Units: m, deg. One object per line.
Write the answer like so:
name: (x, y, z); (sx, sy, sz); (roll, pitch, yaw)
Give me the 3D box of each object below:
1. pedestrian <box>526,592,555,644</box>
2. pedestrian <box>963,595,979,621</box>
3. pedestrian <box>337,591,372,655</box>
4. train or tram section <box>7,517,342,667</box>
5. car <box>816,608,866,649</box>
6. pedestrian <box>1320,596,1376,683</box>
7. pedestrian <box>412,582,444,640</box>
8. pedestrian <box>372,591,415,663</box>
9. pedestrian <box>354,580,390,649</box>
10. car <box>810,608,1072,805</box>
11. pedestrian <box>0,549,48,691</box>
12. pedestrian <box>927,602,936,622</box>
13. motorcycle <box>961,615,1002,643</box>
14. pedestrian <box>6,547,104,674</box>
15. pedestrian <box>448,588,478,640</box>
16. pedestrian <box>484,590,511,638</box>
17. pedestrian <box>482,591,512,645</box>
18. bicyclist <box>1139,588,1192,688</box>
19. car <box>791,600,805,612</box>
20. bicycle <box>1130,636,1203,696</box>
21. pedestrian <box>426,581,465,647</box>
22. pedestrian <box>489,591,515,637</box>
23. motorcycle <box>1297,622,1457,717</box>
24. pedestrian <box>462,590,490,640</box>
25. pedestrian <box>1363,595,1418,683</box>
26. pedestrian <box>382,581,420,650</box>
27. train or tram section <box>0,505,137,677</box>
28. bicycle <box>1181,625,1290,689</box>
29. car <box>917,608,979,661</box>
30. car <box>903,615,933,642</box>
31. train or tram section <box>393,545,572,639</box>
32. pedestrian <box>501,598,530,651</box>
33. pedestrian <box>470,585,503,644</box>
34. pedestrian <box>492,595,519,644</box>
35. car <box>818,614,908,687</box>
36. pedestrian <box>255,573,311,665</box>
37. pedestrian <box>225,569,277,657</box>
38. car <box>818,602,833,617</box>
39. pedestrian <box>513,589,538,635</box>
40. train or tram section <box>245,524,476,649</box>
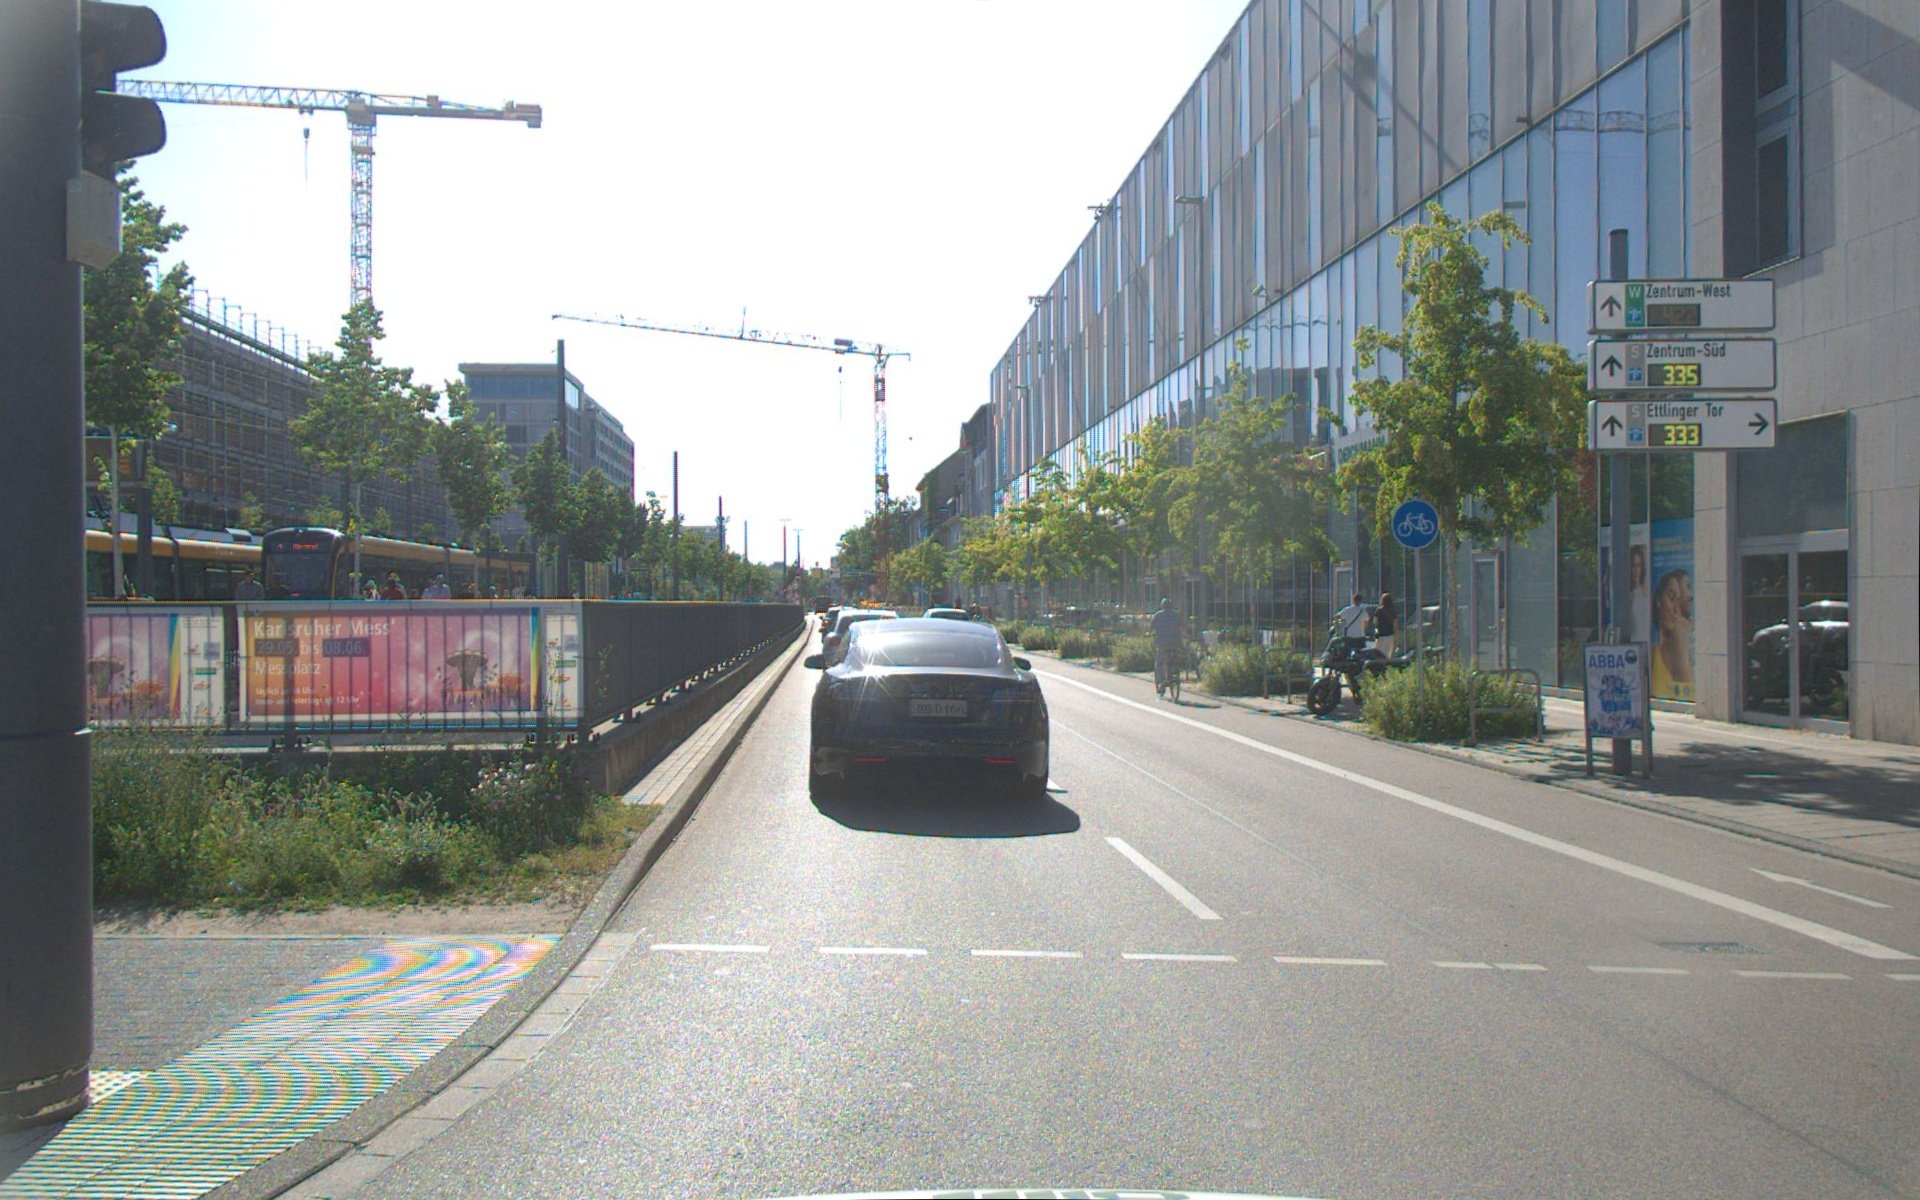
pedestrian: (-13.352, 0.574, 52.654); (0.727, 1.657, 0.861); (0, -1, -3)
pedestrian: (0.802, 0.604, 125.049); (1.074, 1.896, 1.521); (0, 0, -6)
pedestrian: (-14.729, 0.557, 40.251); (0.635, 1.539, 0.587); (1, 0, -7)
train or tram section: (-21.139, -0.170, 46.229); (2.792, 3.379, 15.951); (1, 0, -4)
car: (-4.852, 1.144, 67.878); (1.850, 1.624, 3.999); (0, 0, -2)
pedestrian: (7.688, 0.775, 32.822); (0.805, 1.687, 0.898); (0, -1, -9)
pedestrian: (-16.096, 0.338, 50.086); (0.727, 1.724, 0.861); (0, -1, -4)
pedestrian: (-13.102, 0.620, 38.292); (0.727, 1.657, 0.861); (0, -1, -3)
pedestrian: (-15.974, 0.403, 44.944); (0.658, 1.842, 1.073); (0, -1, -5)
car: (-0.217, 0.860, 14.729); (1.959, 1.459, 4.410); (1, -1, -2)
pedestrian: (-12.459, 0.242, 21.524); (0.689, 1.806, 0.958); (1, 0, -7)
pedestrian: (-2.693, 1.146, 155.704); (0.835, 1.896, 0.929); (0, -1, -6)
motorcycle: (1.146, 1.540, 88.238); (2.029, 1.377, 0.653); (-3, -1, 19)
pedestrian: (-13.391, 0.150, 24.506); (0.857, 1.806, 1.187); (1, 0, -7)
pedestrian: (-16.076, 0.460, 53.493); (0.727, 1.657, 0.861); (0, -1, -3)
pedestrian: (-16.077, 0.492, 57.491); (0.727, 1.657, 0.861); (0, -1, -3)
pedestrian: (-14.405, 0.552, 51.497); (0.727, 1.657, 0.861); (0, -1, -3)
bicyclist: (3.706, 0.679, 29.896); (0.711, 1.767, 0.996); (0, -1, -8)
car: (-24.187, 0.959, 246.726); (1.955, 1.713, 3.995); (1, -1, -5)
bicycle: (3.715, 1.171, 29.958); (0.715, 1.001, 2.329); (-1, 0, -8)
pedestrian: (-14.917, 0.410, 47.974); (0.869, 1.883, 1.006); (0, -1, -4)
pedestrian: (-16.619, 0.515, 60.027); (0.727, 1.657, 0.861); (0, -1, -3)
motorcycle: (6.213, 1.026, 24.723); (2.144, 1.347, 0.903); (-1, -1, 0)
pedestrian: (-16.256, 0.507, 55.609); (0.727, 1.657, 0.861); (0, -1, -3)
pedestrian: (8.521, 0.766, 32.743); (0.693, 1.687, 0.898); (-2, 0, -9)
pedestrian: (-15.171, 0.428, 44.890); (0.754, 1.842, 1.030); (0, -1, -5)
train or tram section: (-20.078, -0.214, 31.771); (2.814, 3.367, 13.060); (2, 0, -4)
bicycle: (5.568, 1.148, 33.555); (2.042, 1.226, 0.950); (-2, -1, 2)
car: (-0.411, 1.051, 51.735); (1.749, 1.573, 4.036); (0, 0, -3)
car: (-2.673, 1.777, 104.586); (1.850, 1.624, 3.999); (0, 0, -2)
train or tram section: (-19.951, -0.221, 71.212); (2.814, 3.337, 22.122); (2, 0, -4)
pedestrian: (-14.117, 0.781, 52.554); (0.727, 1.657, 0.861); (0, -1, -3)
pedestrian: (-13.558, 0.416, 47.363); (0.727, 1.657, 0.861); (0, -1, -3)
pedestrian: (-15.507, 0.653, 56.450); (0.727, 1.657, 0.946); (0, -1, -3)
car: (-1.957, 0.970, 33.317); (1.682, 1.343, 3.997); (0, 0, -4)
pedestrian: (-13.689, 0.375, 33.471); (0.776, 1.806, 0.977); (1, 0, -7)
pedestrian: (-14.980, 0.269, 34.960); (0.747, 1.806, 0.825); (1, 0, -7)
car: (-16.683, 1.160, 204.980); (1.778, 1.841, 4.036); (0, 0, -3)
pedestrian: (-15.779, 0.448, 60.105); (0.727, 1.657, 0.861); (0, -1, -3)
train or tram section: (-18.548, -0.327, 52.639); (2.814, 3.337, 15.170); (2, 0, -4)
